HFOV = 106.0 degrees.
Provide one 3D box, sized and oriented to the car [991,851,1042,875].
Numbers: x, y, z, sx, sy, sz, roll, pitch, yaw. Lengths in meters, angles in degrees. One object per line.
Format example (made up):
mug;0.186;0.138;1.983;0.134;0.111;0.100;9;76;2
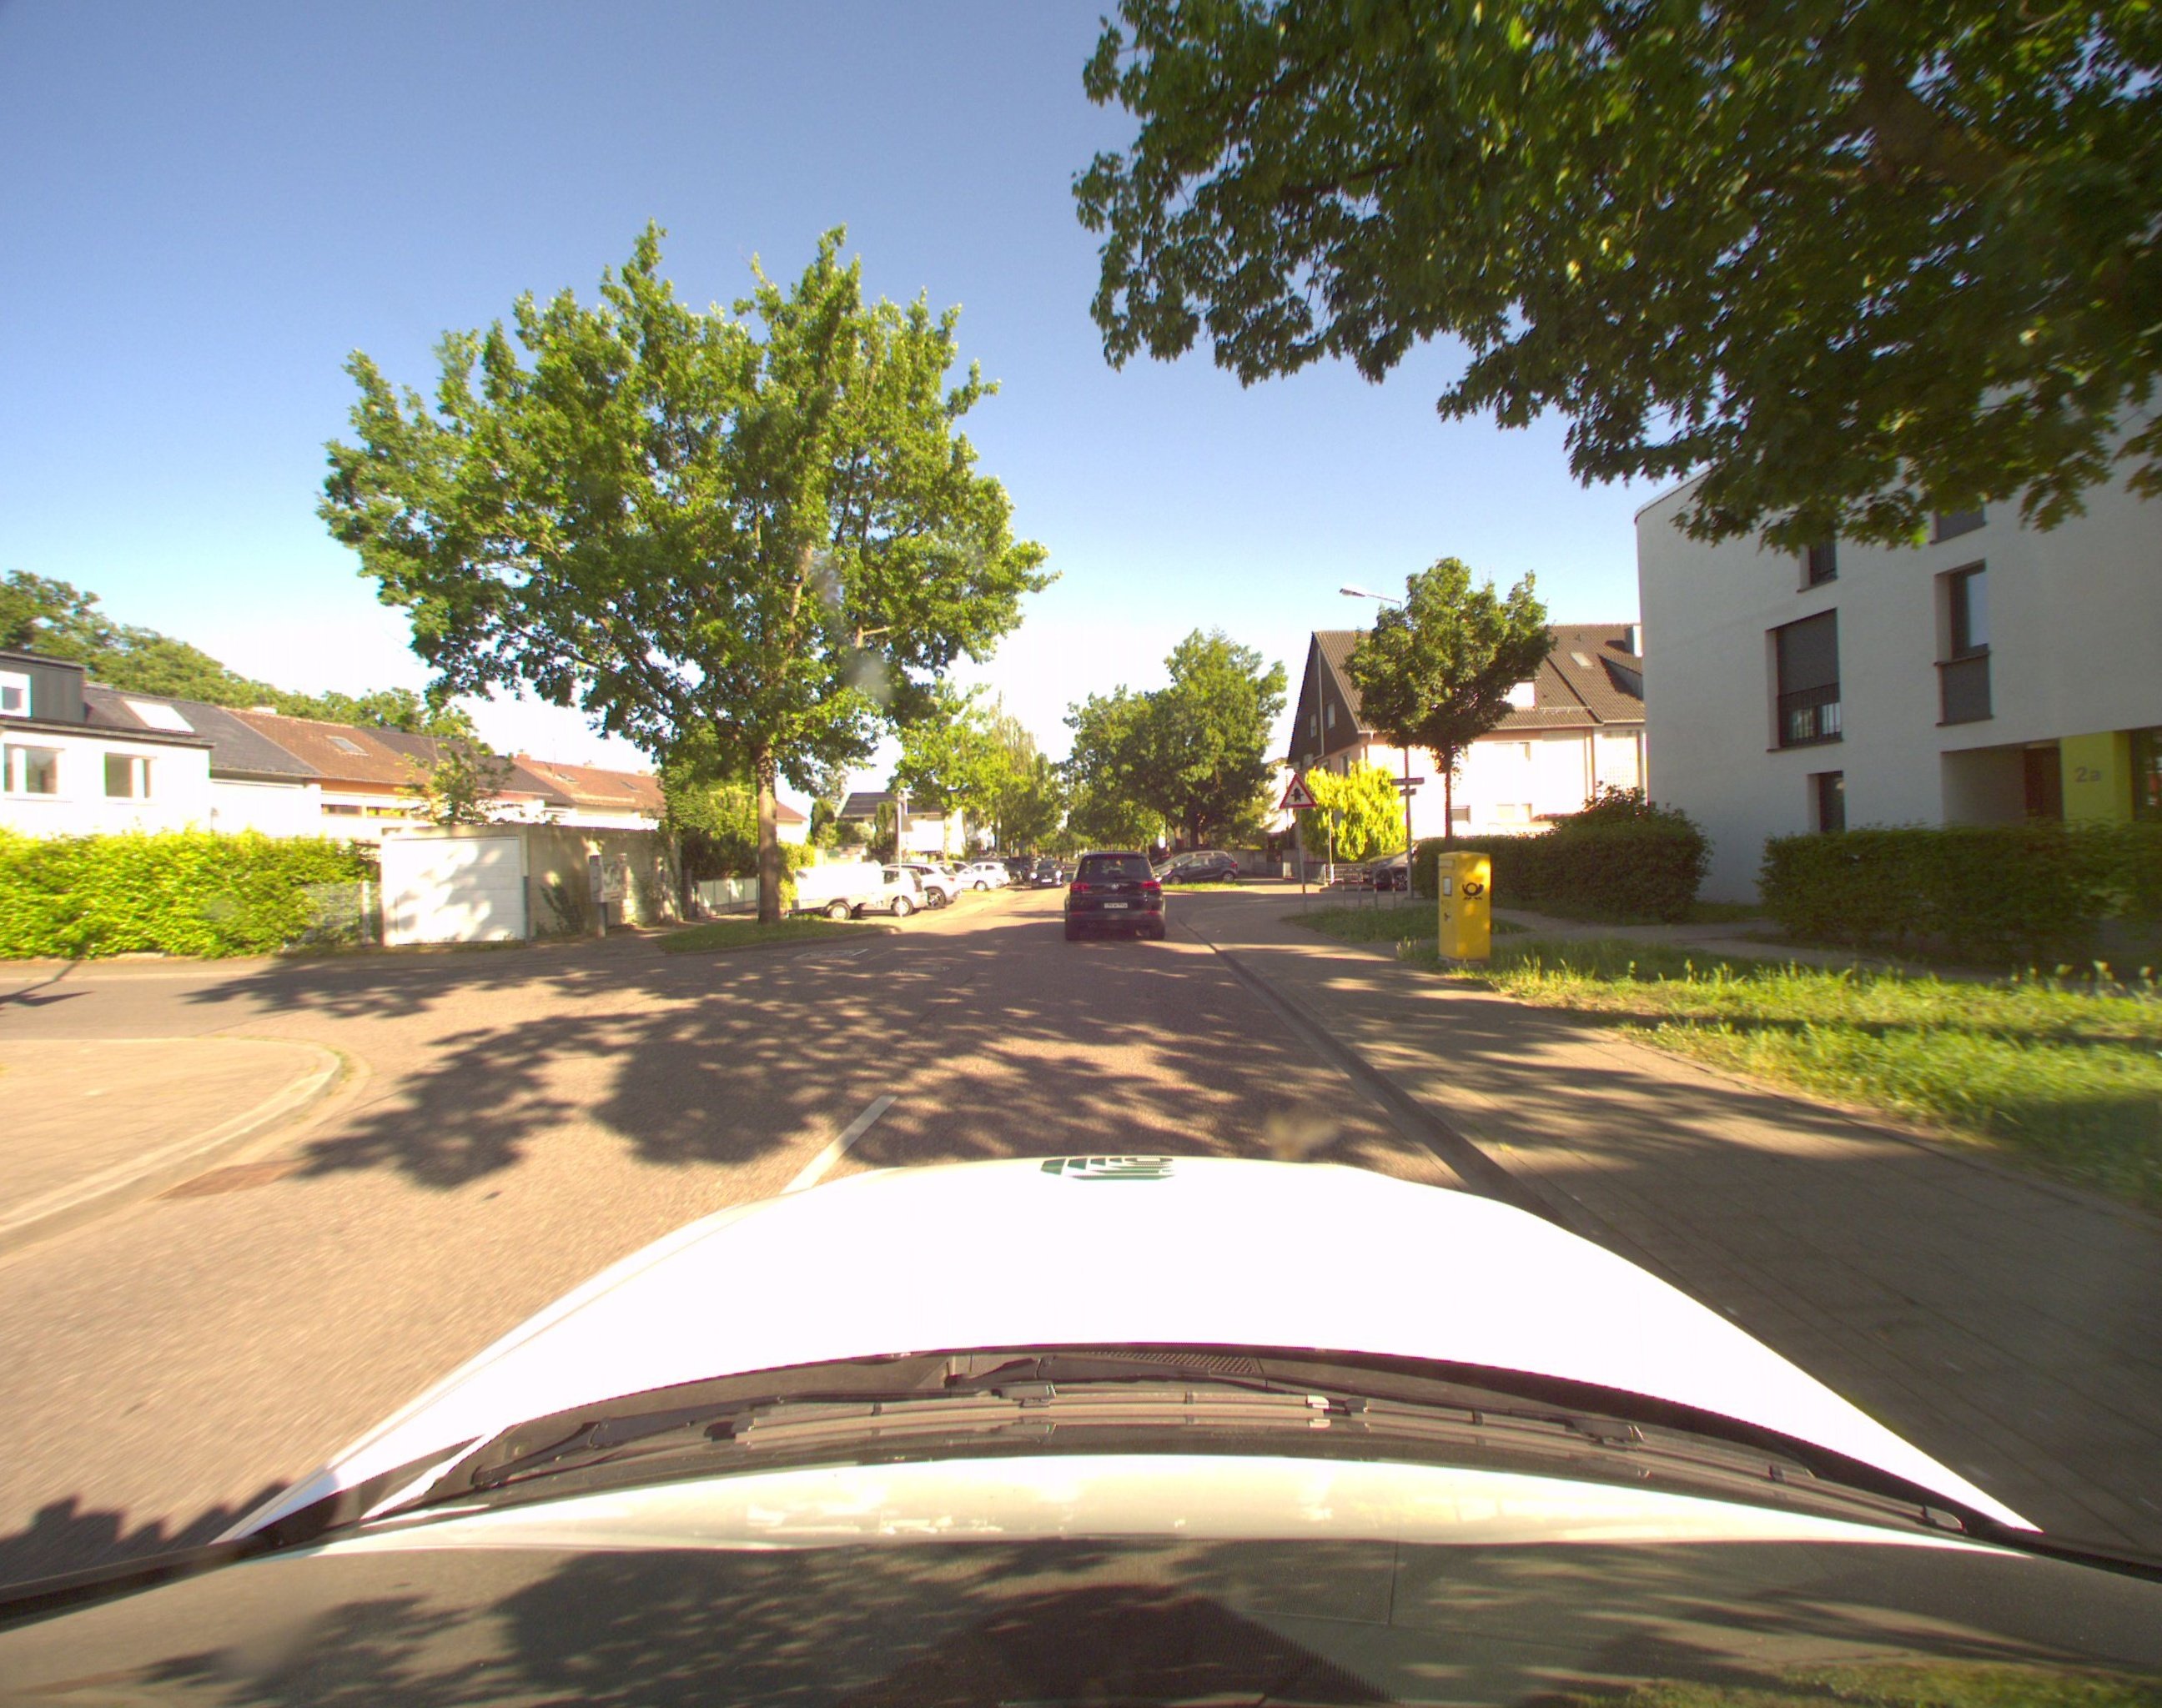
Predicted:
car;-5.687;0.811;72.314;4.381;1.939;1.576;-2;-2;-4

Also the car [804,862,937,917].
car;-6.434;1.059;25.164;3.537;1.477;1.808;-2;0;0

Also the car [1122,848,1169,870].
car;5.688;0.399;71.629;3.973;1.775;1.790;-2;0;1

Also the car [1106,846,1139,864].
car;5.238;0.101;102.975;3.973;2.014;2.000;-2;-2;1

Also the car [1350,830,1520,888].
car;12.779;0.200;29.602;5.227;1.847;2.070;-2;-2;-3

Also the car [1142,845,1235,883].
car;5.645;0.518;43.170;4.618;1.809;1.824;-2;0;0

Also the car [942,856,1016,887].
car;-5.969;1.034;47.986;3.972;1.640;2.001;-2;0;1

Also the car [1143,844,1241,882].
car;6.222;0.486;46.209;5.242;1.945;2.000;-2;0;0

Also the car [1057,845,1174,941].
car;0.547;0.676;16.464;1.925;1.654;4.509;0;0;-3

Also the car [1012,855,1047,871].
car;-6.011;1.015;95.298;3.984;1.684;1.918;-2;0;-8

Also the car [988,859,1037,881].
car;-5.842;1.399;69.825;3.974;1.720;1.820;-2;-2;-1

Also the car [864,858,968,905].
car;-6.130;1.008;30.546;3.543;1.557;1.850;-2;-1;-5

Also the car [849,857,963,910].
car;-5.907;0.963;27.843;3.544;1.613;1.849;-2;0;-6

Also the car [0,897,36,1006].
car;-16.151;1.353;9.972;4.329;1.385;1.925;-2;0;3

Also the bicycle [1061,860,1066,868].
bicycle;-2.579;1.429;117.438;0.636;1.163;1.739;-2;-2;-3

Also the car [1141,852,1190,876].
car;5.688;0.689;54.967;3.040;1.507;1.244;-2;0;-6

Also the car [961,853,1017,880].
car;-6.775;0.934;60.205;3.979;1.836;1.635;-2;0;-4

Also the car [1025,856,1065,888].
car;-1.907;0.933;44.541;1.904;1.555;3.999;-4;0;0

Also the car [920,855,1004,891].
car;-6.189;0.975;42.647;3.972;1.670;2.001;-2;0;1

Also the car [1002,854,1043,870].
car;-6.109;0.863;85.306;3.973;1.499;2.000;-2;-2;1

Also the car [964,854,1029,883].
car;-5.422;0.918;52.747;3.978;1.731;1.998;-2;0;-4

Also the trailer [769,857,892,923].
trailer;-6.953;0.968;22.804;2.961;1.656;1.394;-2;0;-4

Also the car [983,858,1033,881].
car;-5.107;1.087;57.338;3.364;1.490;1.642;-2;0;-4

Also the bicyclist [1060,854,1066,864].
bicyclist;-2.607;0.740;117.513;0.699;1.346;0.506;-2;-2;-4

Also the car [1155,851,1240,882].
car;5.786;0.614;40.671;3.974;1.368;1.846;-2;0;0
